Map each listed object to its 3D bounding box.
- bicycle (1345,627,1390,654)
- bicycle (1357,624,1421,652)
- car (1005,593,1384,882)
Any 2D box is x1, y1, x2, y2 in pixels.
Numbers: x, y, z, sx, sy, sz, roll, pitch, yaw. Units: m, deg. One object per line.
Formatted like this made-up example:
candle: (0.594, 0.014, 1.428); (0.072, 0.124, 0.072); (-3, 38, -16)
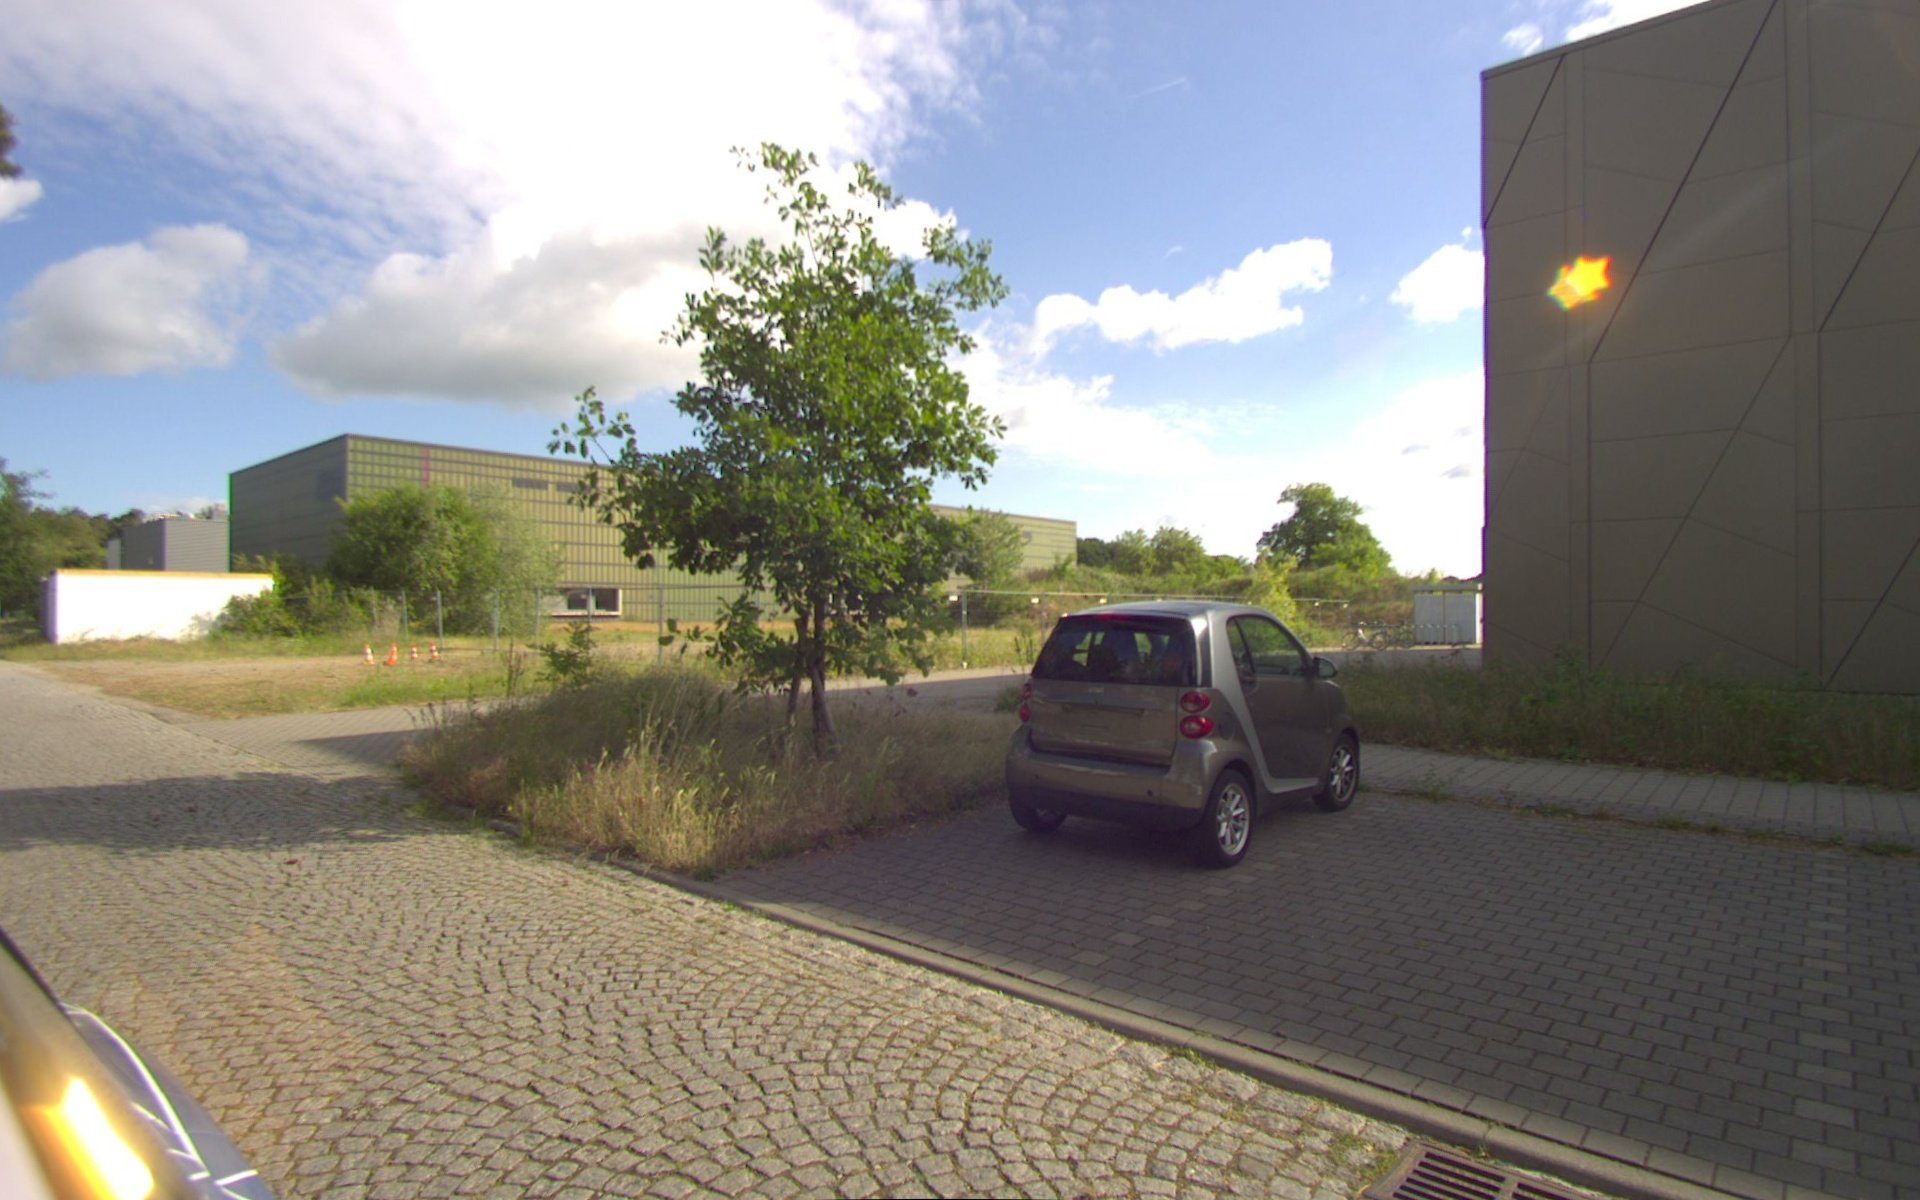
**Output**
bicycle: (14.284, 1.420, 35.466); (1.358, 0.906, 0.511); (-4, -4, 45)
bicycle: (15.729, 1.399, 37.105); (1.968, 0.976, 0.830); (-4, -4, 45)
car: (1.734, 0.756, 7.060); (1.518, 1.554, 2.671); (-1, 0, 40)
